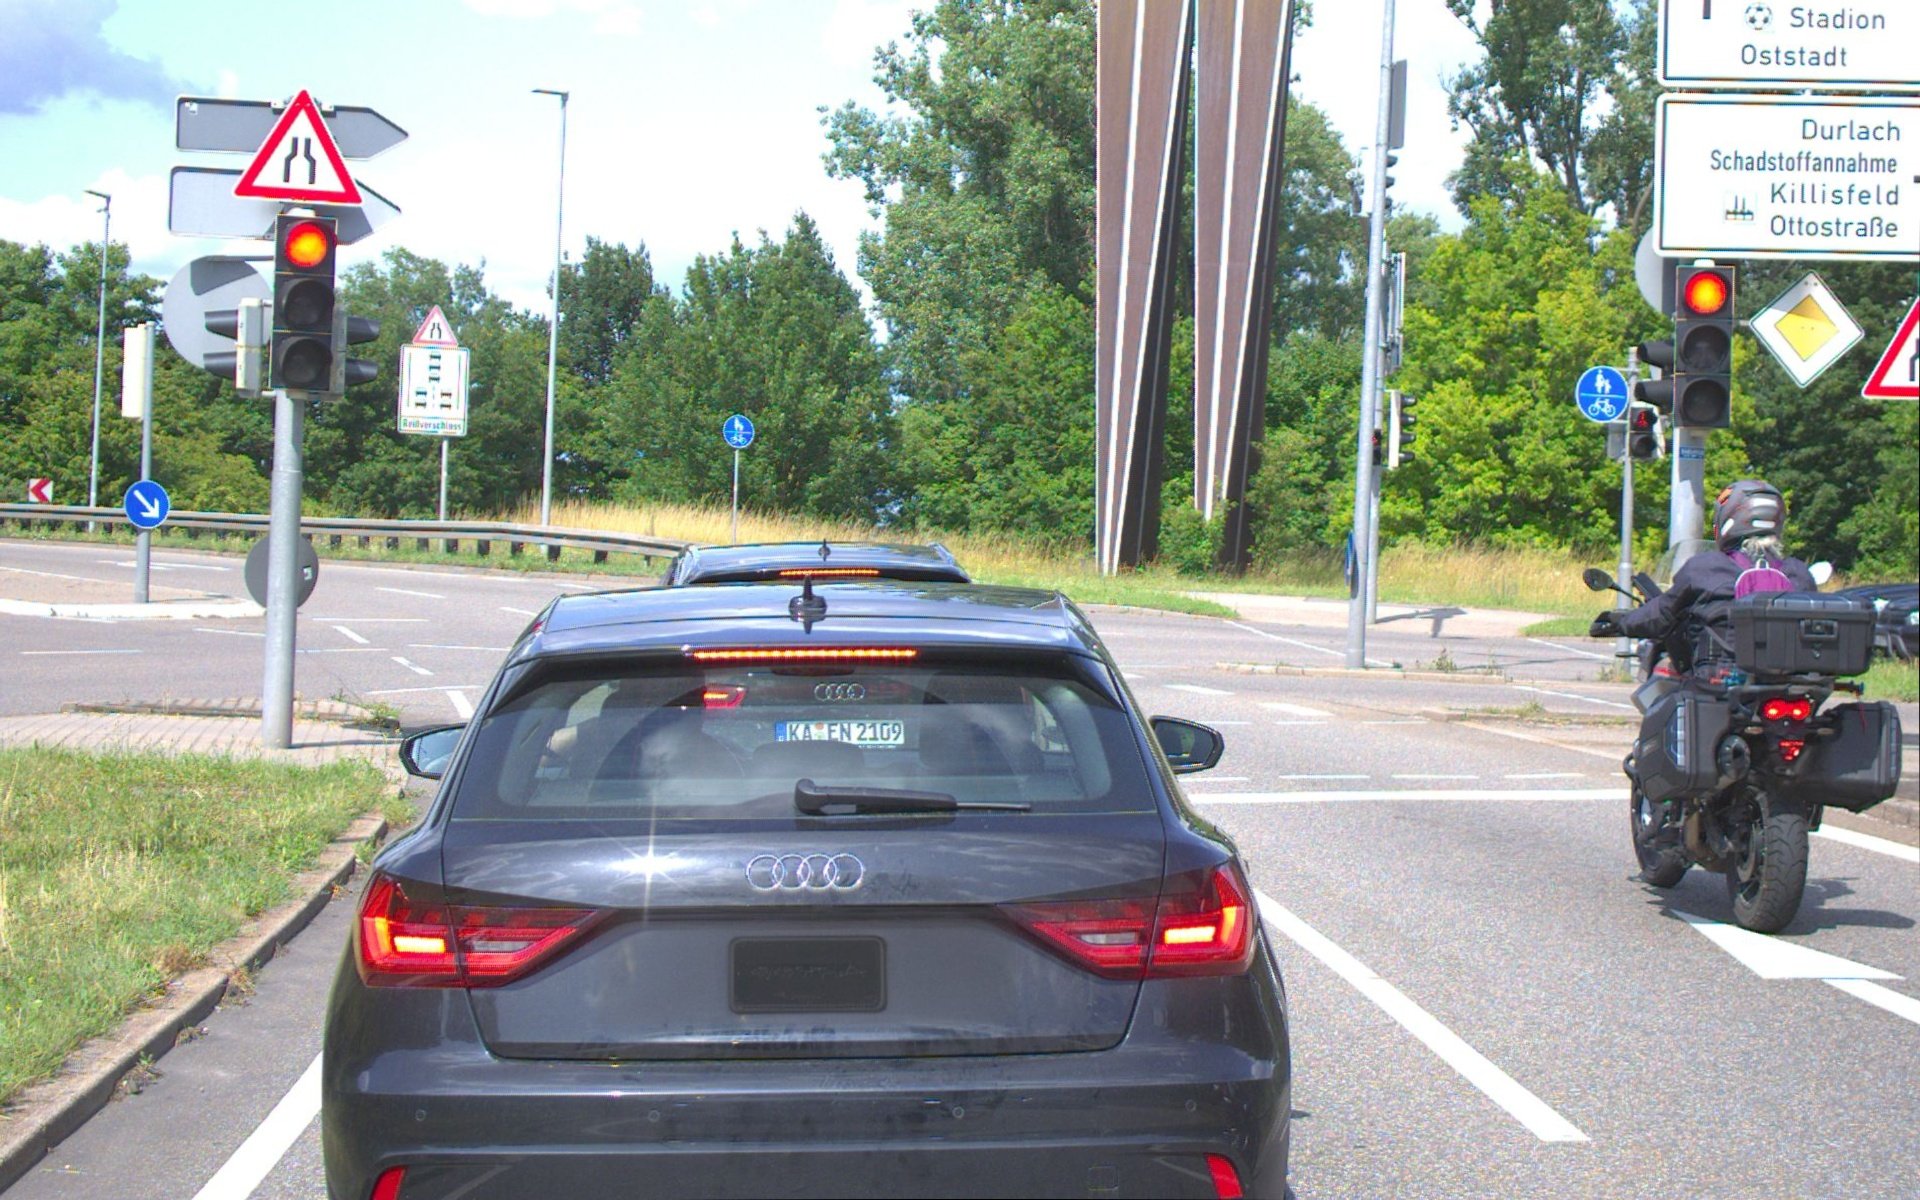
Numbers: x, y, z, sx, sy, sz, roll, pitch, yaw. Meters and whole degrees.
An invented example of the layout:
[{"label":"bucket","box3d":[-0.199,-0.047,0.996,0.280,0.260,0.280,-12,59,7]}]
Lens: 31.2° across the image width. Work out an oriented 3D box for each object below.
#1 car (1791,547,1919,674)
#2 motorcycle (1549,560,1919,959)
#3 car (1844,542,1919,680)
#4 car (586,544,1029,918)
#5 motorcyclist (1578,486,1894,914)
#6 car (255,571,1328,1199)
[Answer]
[{"label":"car","box3d":[13.241,0.169,43.744,4.847,1.539,1.737,2,1,-1]},{"label":"motorcycle","box3d":[3.005,0.555,13.428,0.936,1.378,2.370,1,1,-1]},{"label":"car","box3d":[12.650,0.167,39.891,4.268,1.539,1.737,2,1,-1]},{"label":"car","box3d":[-0.749,0.478,15.349,1.726,1.418,3.845,0,1,-5]},{"label":"motorcyclist","box3d":[3.011,0.366,13.451,0.936,1.585,1.083,1,1,-1]},{"label":"car","box3d":[-0.293,0.670,7.550,1.726,1.399,4.000,0,1,-1]}]
